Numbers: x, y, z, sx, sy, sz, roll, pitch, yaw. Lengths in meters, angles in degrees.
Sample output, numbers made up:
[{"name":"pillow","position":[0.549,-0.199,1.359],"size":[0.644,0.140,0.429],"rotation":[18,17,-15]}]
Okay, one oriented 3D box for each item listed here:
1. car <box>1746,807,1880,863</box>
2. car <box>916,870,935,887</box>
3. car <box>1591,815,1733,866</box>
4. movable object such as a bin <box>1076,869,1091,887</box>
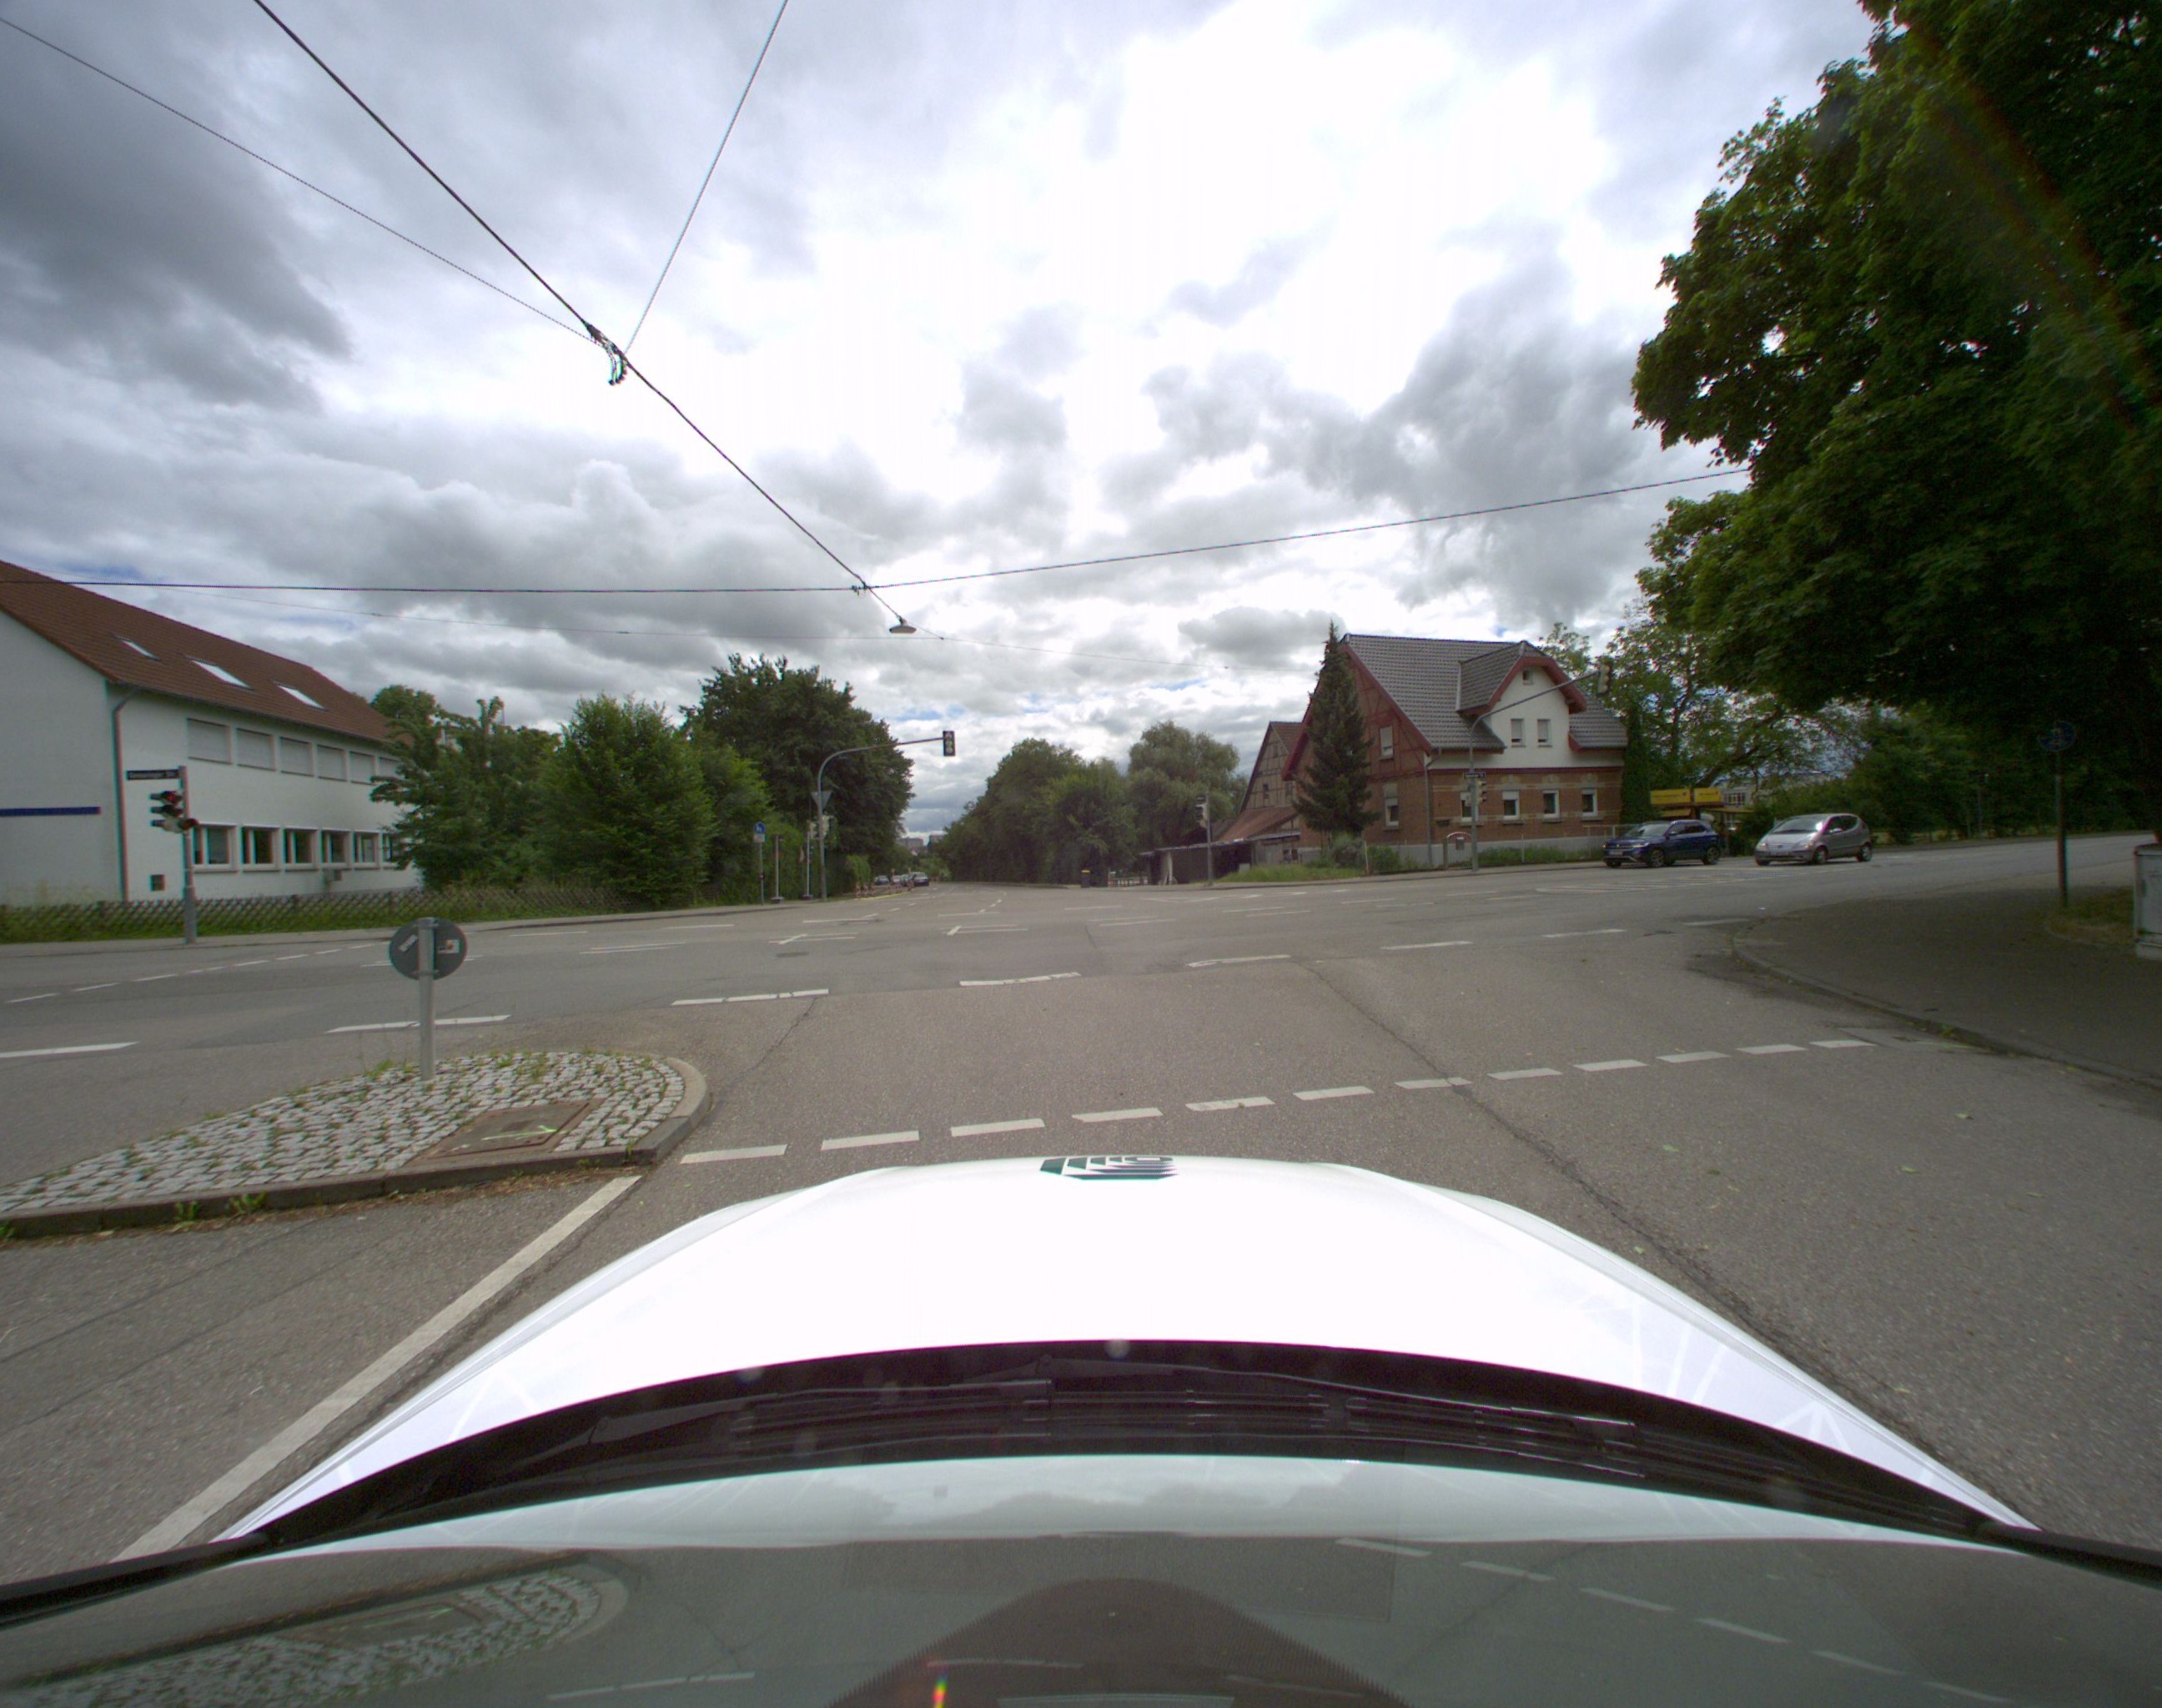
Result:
[{"name":"car","position":[23.216,-0.596,25.848],"size":[3.562,1.518,1.767],"rotation":[-3,-1,-23]},{"name":"car","position":[-17.854,2.795,93.621],"size":[1.994,1.750,3.985],"rotation":[-3,0,-11]},{"name":"car","position":[19.987,-0.447,28.068],"size":[3.996,1.518,1.917],"rotation":[-3,0,-17]},{"name":"movable object such as a bin","position":[0.122,1.301,43.529],"size":[0.586,0.906,0.606],"rotation":[-3,0,24]}]
